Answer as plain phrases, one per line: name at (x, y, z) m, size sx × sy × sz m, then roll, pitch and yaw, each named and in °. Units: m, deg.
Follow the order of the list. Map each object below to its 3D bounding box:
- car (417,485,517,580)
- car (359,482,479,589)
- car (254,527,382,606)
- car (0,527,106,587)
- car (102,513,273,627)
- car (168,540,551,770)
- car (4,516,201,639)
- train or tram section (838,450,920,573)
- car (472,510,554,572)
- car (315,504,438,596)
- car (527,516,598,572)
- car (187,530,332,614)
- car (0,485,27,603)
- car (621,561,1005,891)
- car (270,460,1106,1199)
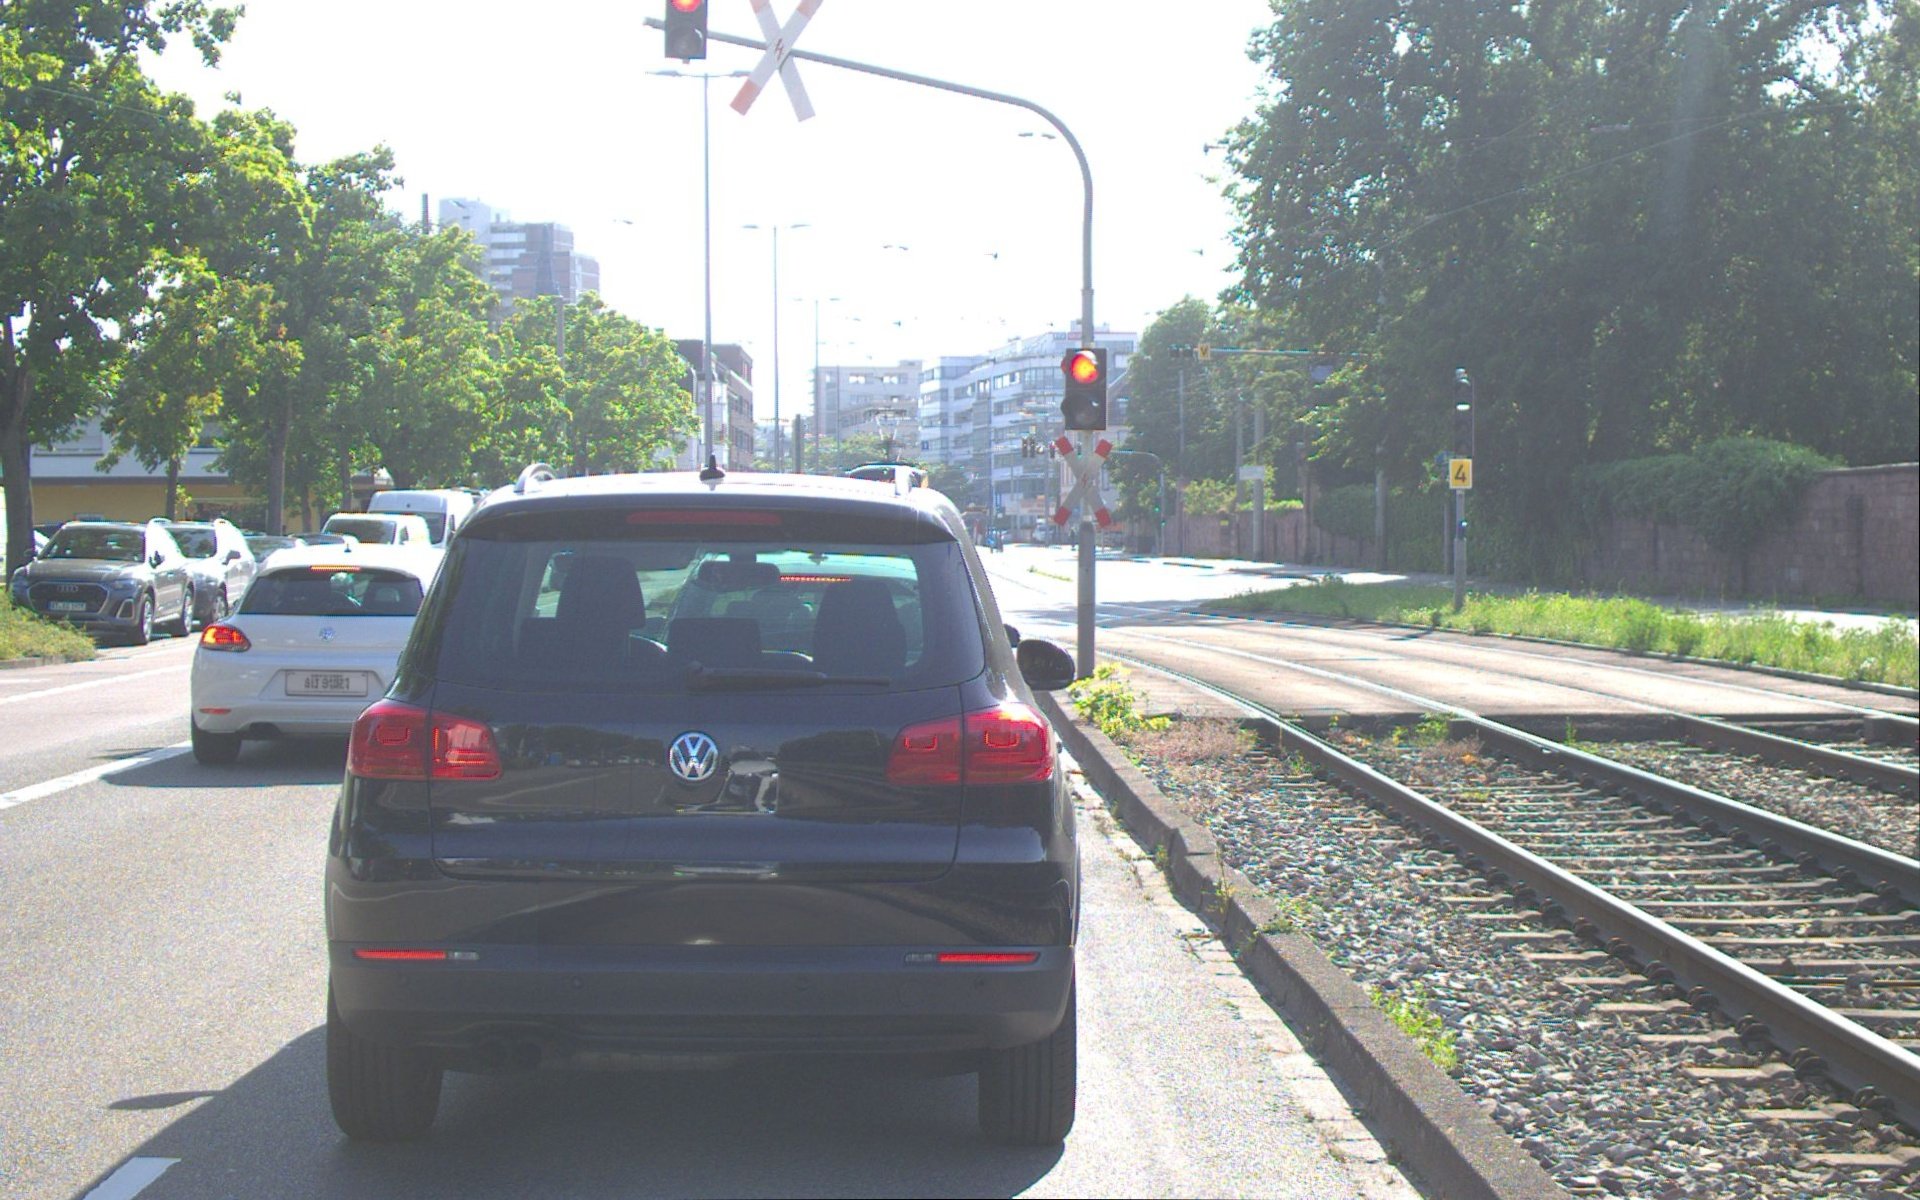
car at (-12.200, -1.691, 85.346) m, size 1.732 × 2.261 × 4.645 m, roll -1°, pitch 1°, yaw 1°
car at (-12.313, -1.491, 78.519) m, size 1.863 × 2.339 × 4.985 m, roll -1°, pitch 1°, yaw 1°
car at (-12.390, -0.670, 66.537) m, size 1.732 × 1.445 × 3.735 m, roll 0°, pitch 2°, yaw 1°
car at (-22.697, -1.039, 82.534) m, size 3.986 × 1.392 × 1.738 m, roll -1°, pitch 1°, yaw -4°
car at (-12.139, -0.502, 54.267) m, size 1.732 × 1.689 × 4.000 m, roll 0°, pitch 2°, yaw 1°
car at (-3.847, 0.297, 22.662) m, size 1.864 × 1.343 × 4.000 m, roll 0°, pitch 1°, yaw -1°
car at (-12.105, -0.352, 48.784) m, size 1.732 × 1.652 × 4.000 m, roll -1°, pitch 1°, yaw 1°
train or tram section at (-2.398, -2.676, 103.977) m, size 2.326 × 3.558 × 8.901 m, roll -1°, pitch 1°, yaw -1°
car at (-12.586, -1.682, 96.995) m, size 1.732 × 1.689 × 4.000 m, roll 0°, pitch 2°, yaw 1°
car at (-12.151, -1.067, 71.851) m, size 1.732 × 1.853 × 4.489 m, roll -1°, pitch 1°, yaw 1°
car at (-12.514, -1.779, 108.381) m, size 1.732 × 1.689 × 4.000 m, roll 0°, pitch 2°, yaw 1°
car at (-12.318, -0.513, 60.654) m, size 1.732 × 1.384 × 3.735 m, roll 0°, pitch 2°, yaw 1°
car at (-22.430, -1.151, 71.618) m, size 5.375 × 2.415 × 2.088 m, roll -1°, pitch 1°, yaw 0°
car at (-0.666, 0.532, 17.096) m, size 1.669 × 1.382 × 4.000 m, roll -1°, pitch 1°, yaw -1°
car at (-0.618, 0.488, 9.514) m, size 1.811 × 1.639 × 4.000 m, roll 1°, pitch 1°, yaw -1°
